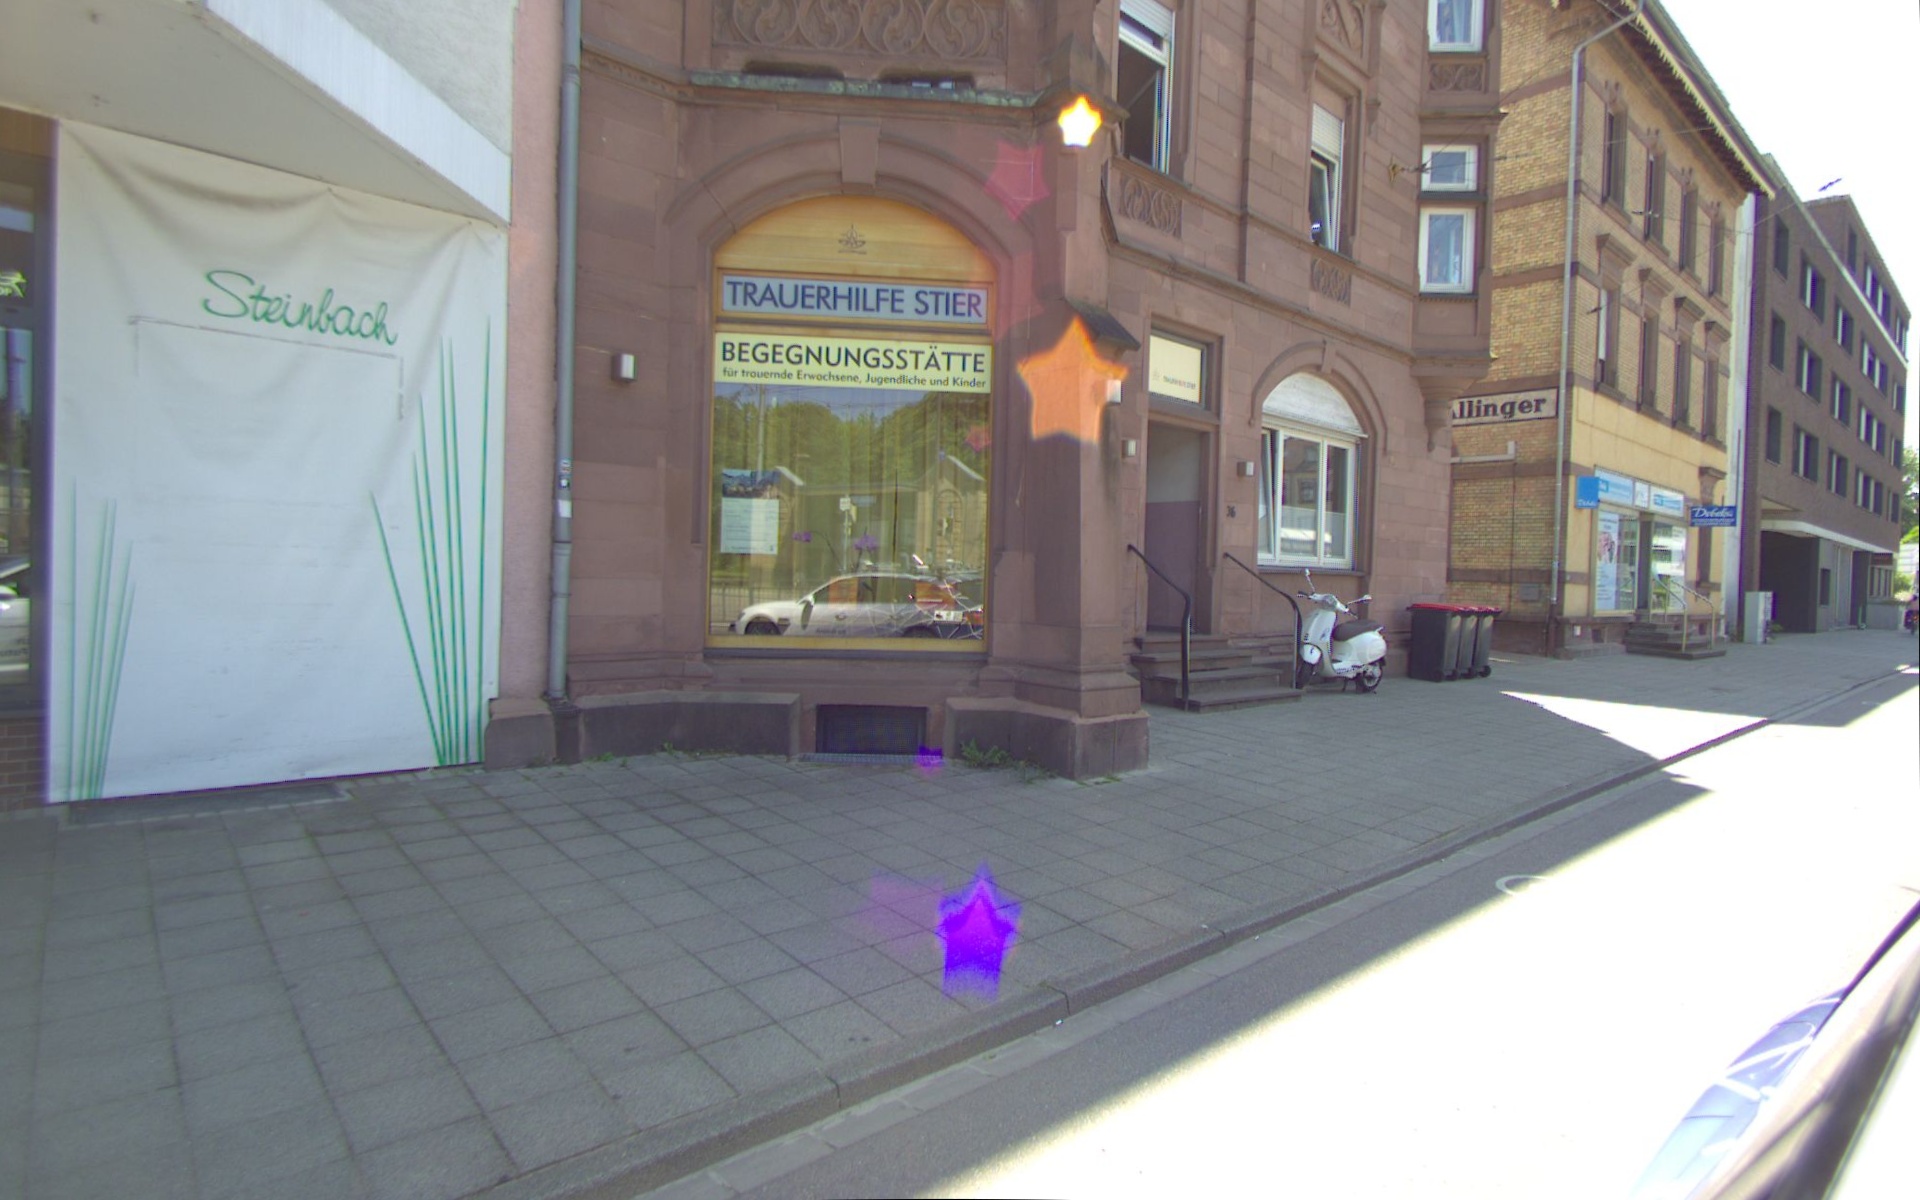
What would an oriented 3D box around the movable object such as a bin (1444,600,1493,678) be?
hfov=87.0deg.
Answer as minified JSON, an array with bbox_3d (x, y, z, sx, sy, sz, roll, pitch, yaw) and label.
[{"bbox_3d":[7.214,0.544,14.358,0.549,1.061,0.376,0,4,-42],"label":"movable object such as a bin"}]

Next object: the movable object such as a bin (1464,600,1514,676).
[{"bbox_3d":[7.687,0.537,14.701,0.646,1.061,0.376,0,4,-42],"label":"movable object such as a bin"}]

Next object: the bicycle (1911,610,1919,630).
[{"bbox_3d":[40.837,0.842,42.784,1.874,0.807,0.689,0,1,-41],"label":"bicycle"}]

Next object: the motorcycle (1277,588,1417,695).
[{"bbox_3d":[4.551,0.456,11.859,1.843,1.163,0.529,1,1,-33],"label":"motorcycle"}]

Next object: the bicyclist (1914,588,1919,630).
[{"bbox_3d":[40.999,0.382,42.894,0.911,1.744,0.671,1,1,-39],"label":"bicyclist"}]

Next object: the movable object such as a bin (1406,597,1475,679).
[{"bbox_3d":[6.688,0.518,14.102,0.549,1.061,0.649,0,4,-42],"label":"movable object such as a bin"}]
